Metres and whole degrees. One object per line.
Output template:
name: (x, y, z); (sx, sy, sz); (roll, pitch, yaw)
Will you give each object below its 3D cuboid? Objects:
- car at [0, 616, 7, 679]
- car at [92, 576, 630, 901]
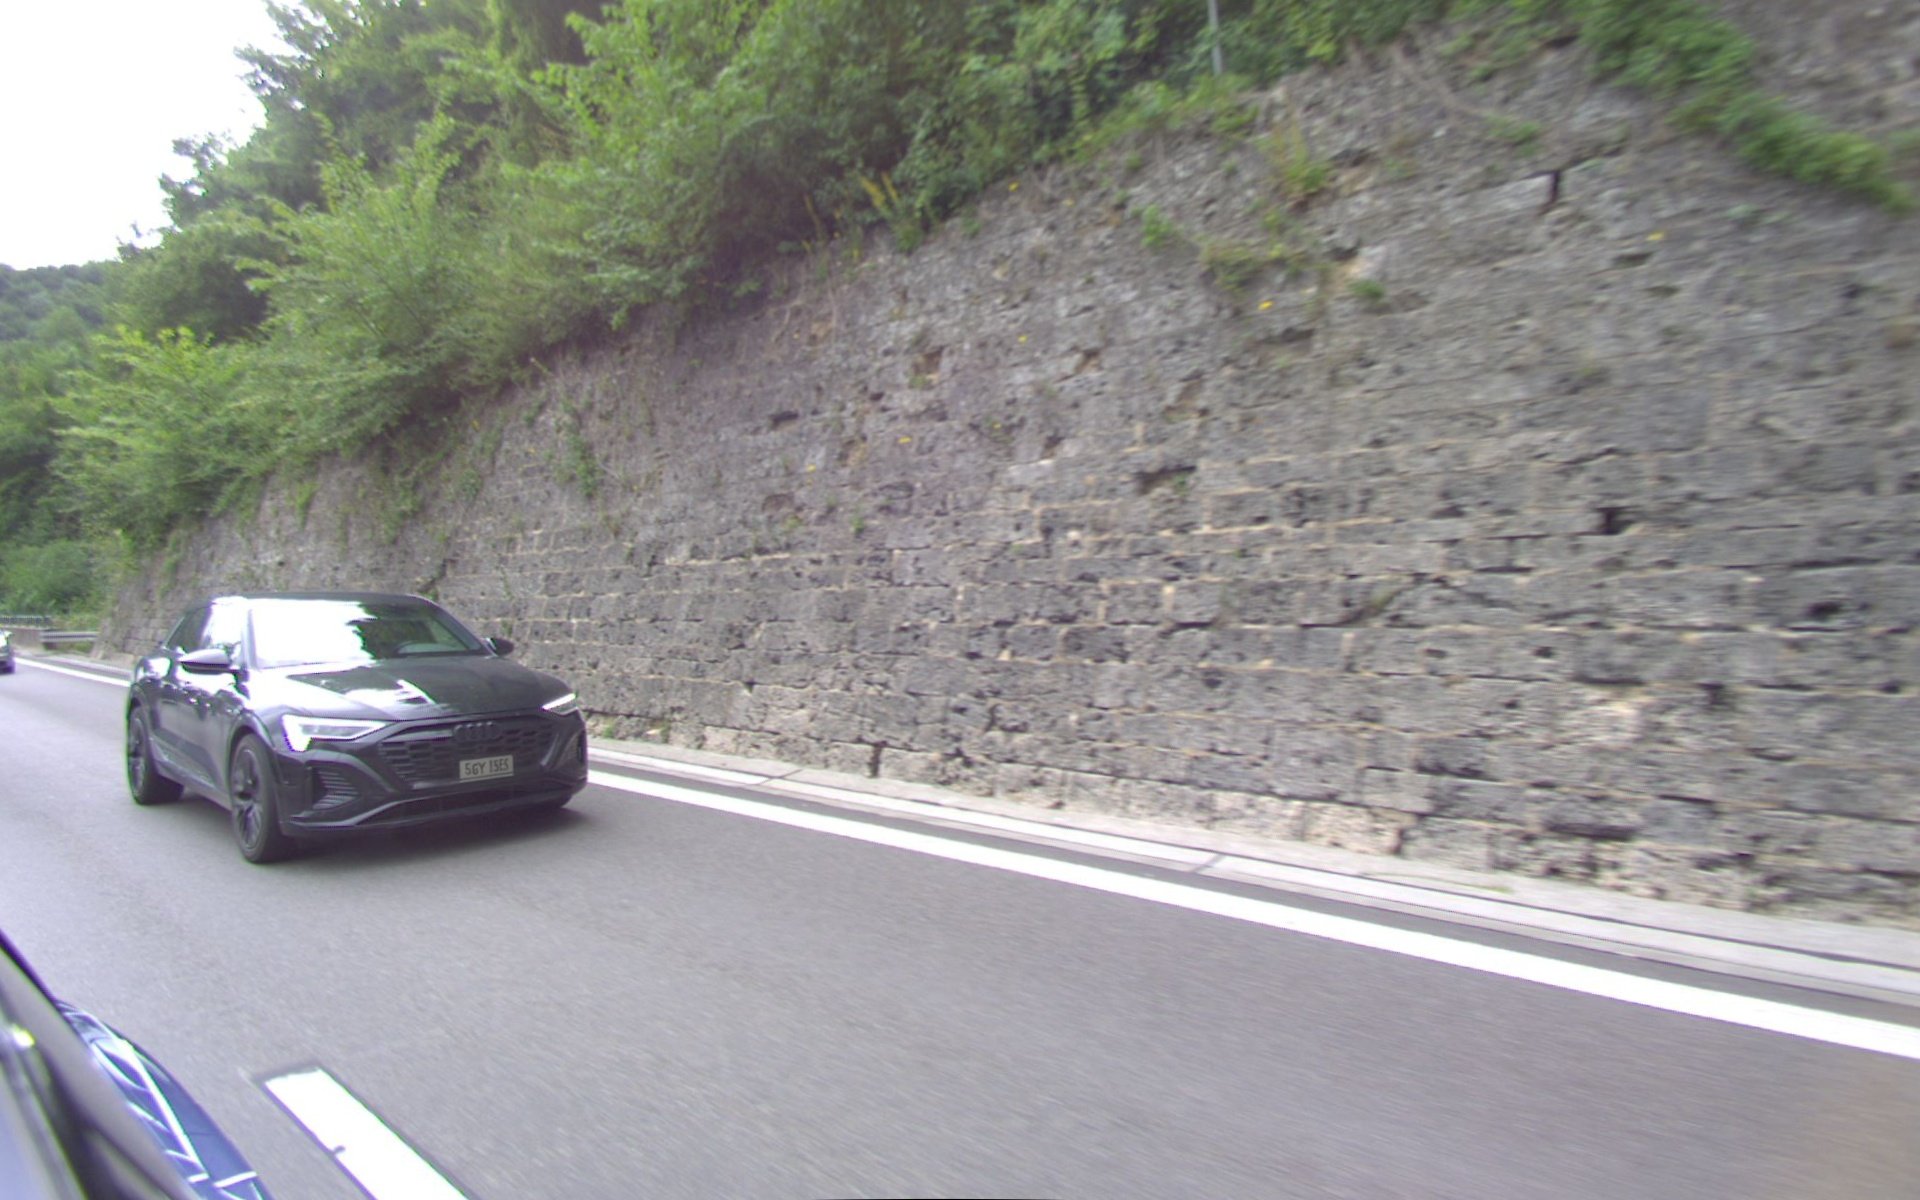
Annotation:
car: (-25.740, 1.248, 25.598); (4.577, 1.526, 1.665); (-1, 3, 38)
car: (-4.697, 0.727, 7.533); (5.006, 1.644, 1.973); (-1, 0, 41)
